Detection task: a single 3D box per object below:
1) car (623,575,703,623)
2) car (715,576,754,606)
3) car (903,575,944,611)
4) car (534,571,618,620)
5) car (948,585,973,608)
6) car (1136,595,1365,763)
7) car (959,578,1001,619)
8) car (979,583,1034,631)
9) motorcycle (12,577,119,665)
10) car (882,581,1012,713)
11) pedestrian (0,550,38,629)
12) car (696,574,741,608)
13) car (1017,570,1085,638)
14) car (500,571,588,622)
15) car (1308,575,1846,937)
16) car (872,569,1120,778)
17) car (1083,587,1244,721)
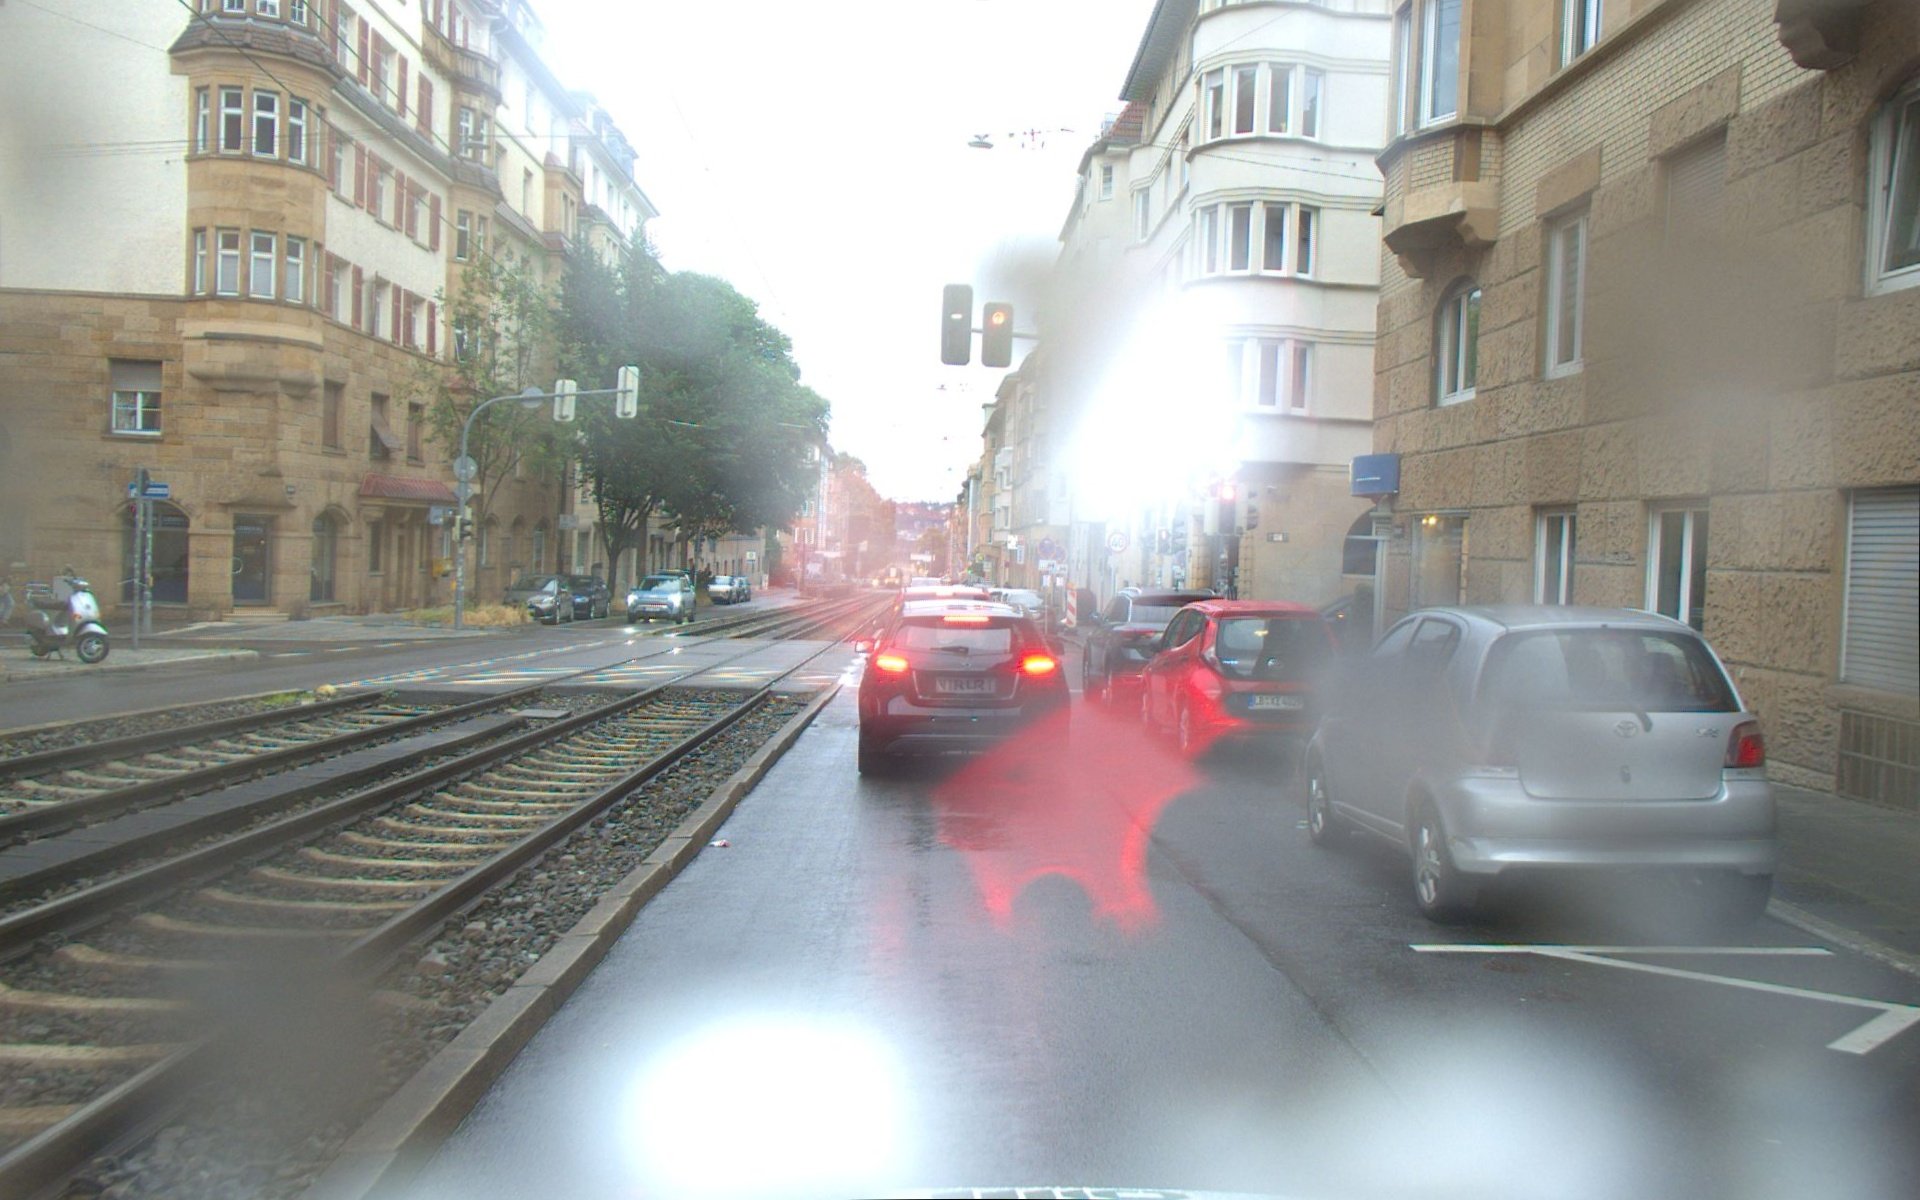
[{"bbox_3d":[-10.092,-0.042,56.523,1.758,1.575,4.002,1,0,4],"label":"car"},{"bbox_3d":[-14.008,-0.569,102.951,1.893,1.758,4.185,2,0,-1],"label":"car"},{"bbox_3d":[-1.788,-0.364,82.422,1.882,1.684,4.000,2,0,0],"label":"car"},{"bbox_3d":[-13.122,-0.170,56.703,1.953,1.544,3.999,2,0,-1],"label":"car"},{"bbox_3d":[0.053,-0.286,131.915,1.870,1.735,3.999,2,0,-1],"label":"car"},{"bbox_3d":[2.780,0.705,16.427,1.570,1.444,3.147,2,0,-2],"label":"car"},{"bbox_3d":[0.914,-0.058,76.905,1.815,1.829,3.811,1,-1,-1],"label":"car"},{"bbox_3d":[1.813,0.308,65.557,1.734,1.807,3.996,1,-1,-5],"label":"car"},{"bbox_3d":[-12.510,0.284,23.131,1.409,1.154,0.619,2,0,29],"label":"motorcycle"},{"bbox_3d":[-0.179,0.563,21.996,1.504,1.536,3.999,2,0,-1],"label":"car"},{"bbox_3d":[-21.517,-0.244,37.562,0.595,1.763,0.865,2,0,0],"label":"pedestrian"},{"bbox_3d":[-13.811,-0.506,94.891,1.953,1.825,3.999,2,0,-1],"label":"car"},{"bbox_3d":[2.883,0.149,53.142,1.860,2.063,4.175,1,-1,-1],"label":"car"},{"bbox_3d":[-12.875,-0.098,51.386,1.735,1.489,3.999,1,0,-1],"label":"car"},{"bbox_3d":[3.134,0.688,9.146,1.604,1.569,3.465,2,0,-1],"label":"car"},{"bbox_3d":[0.215,0.590,14.721,1.907,1.592,3.641,1,-1,-2],"label":"car"},{"bbox_3d":[2.585,0.636,21.781,1.518,1.534,3.999,3,0,-1],"label":"car"}]
